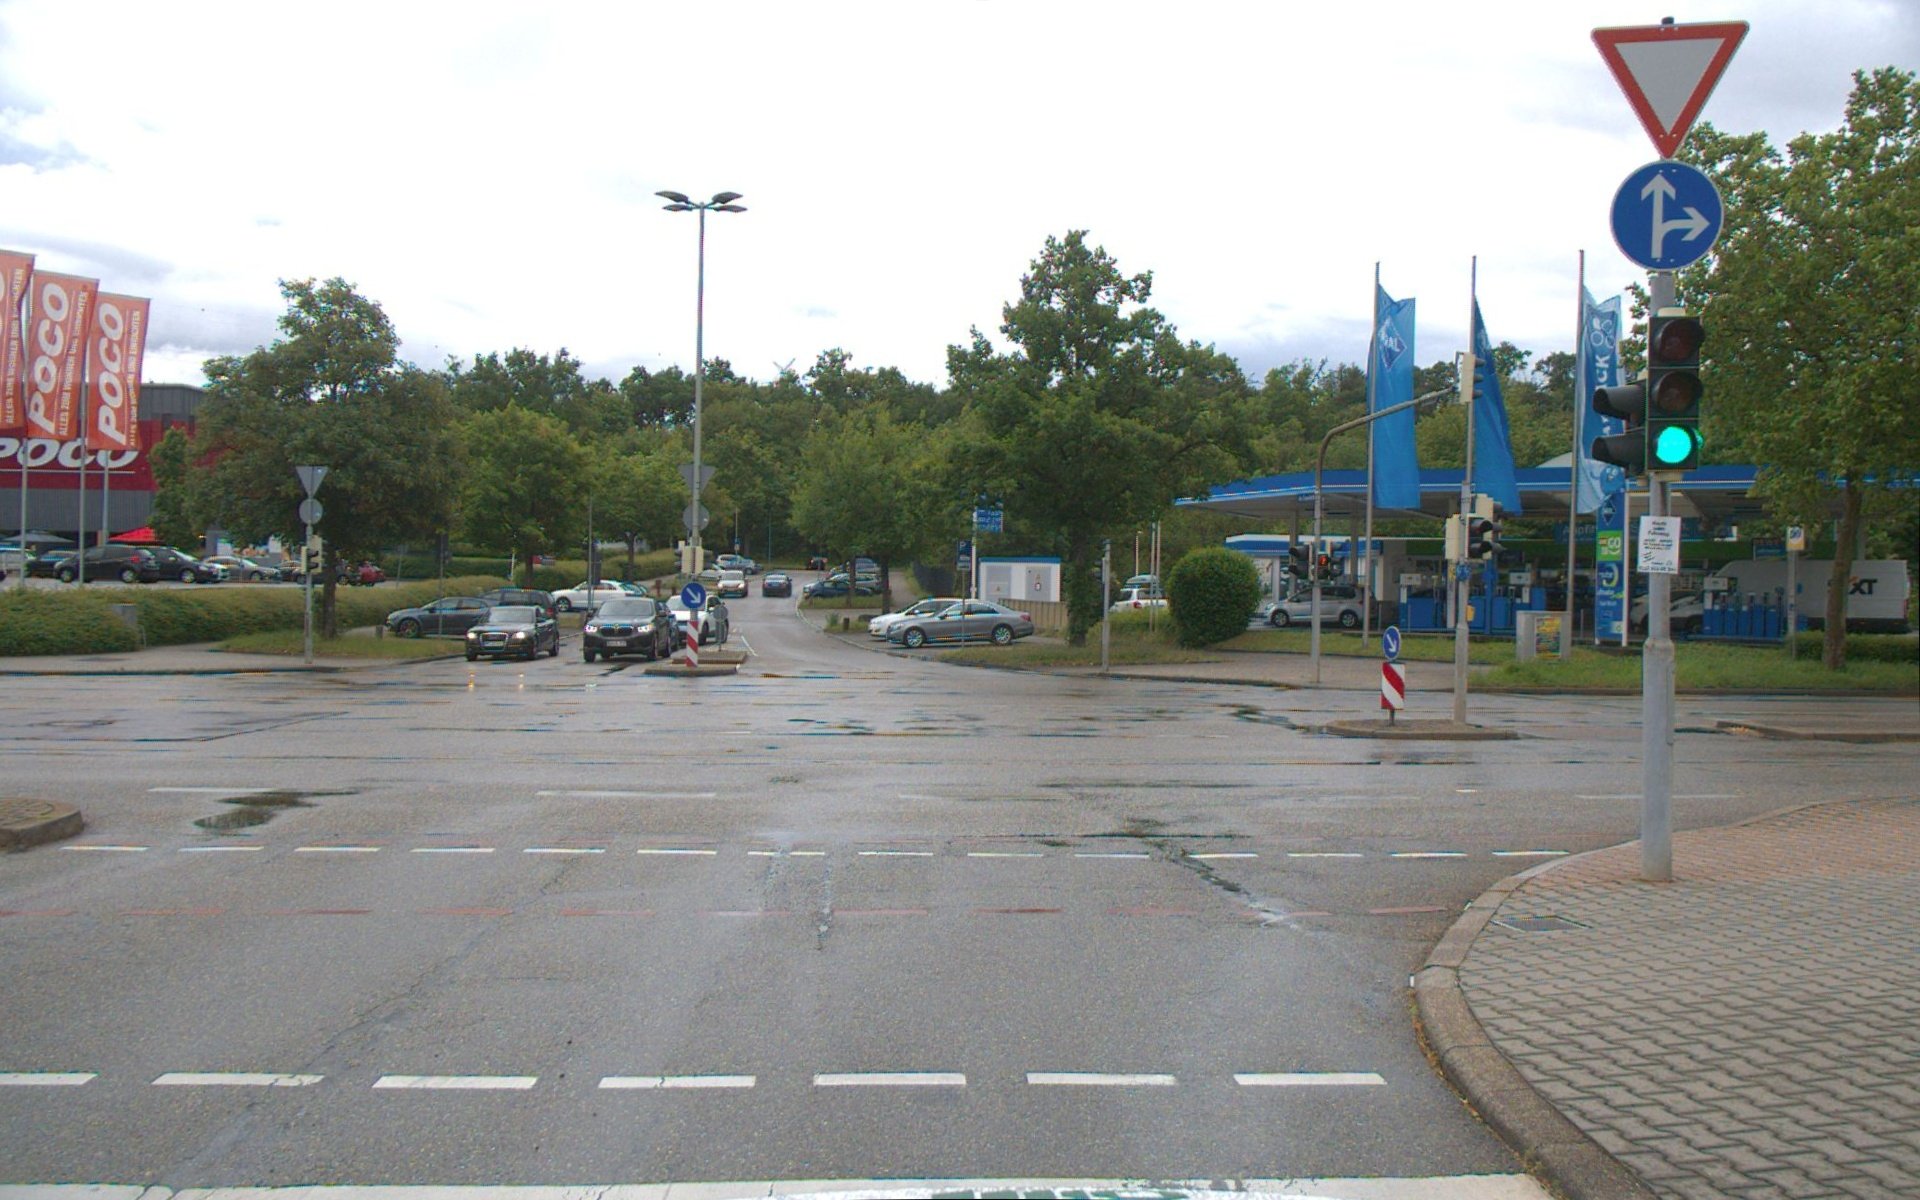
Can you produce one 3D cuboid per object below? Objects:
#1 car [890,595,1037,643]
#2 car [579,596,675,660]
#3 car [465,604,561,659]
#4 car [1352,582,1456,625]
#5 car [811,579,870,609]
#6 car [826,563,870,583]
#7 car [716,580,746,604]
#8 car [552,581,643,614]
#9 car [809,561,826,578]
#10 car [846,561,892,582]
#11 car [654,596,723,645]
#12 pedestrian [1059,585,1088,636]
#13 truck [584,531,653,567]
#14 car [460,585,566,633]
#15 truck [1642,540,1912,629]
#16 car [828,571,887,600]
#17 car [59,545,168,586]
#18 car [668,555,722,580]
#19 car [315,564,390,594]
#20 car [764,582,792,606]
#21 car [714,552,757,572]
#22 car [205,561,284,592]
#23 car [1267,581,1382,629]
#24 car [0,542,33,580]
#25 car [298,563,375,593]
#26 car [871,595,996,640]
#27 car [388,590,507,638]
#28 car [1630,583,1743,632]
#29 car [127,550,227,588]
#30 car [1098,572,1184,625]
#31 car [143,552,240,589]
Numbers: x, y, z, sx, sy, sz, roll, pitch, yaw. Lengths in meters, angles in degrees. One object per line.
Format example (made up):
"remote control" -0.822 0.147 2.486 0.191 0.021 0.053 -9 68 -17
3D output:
"car" 0.079 0.637 56.324 4.794 1.576 1.997 0 -1 -8
"car" -8.673 0.724 43.451 1.858 1.580 4.588 0 0 -4
"car" -12.075 0.832 44.938 1.747 1.429 3.997 0 0 -4
"car" 18.415 0.157 68.649 3.909 1.758 1.793 0 -1 27
"car" -7.058 -0.344 97.521 3.393 1.683 1.614 1 -1 -6
"car" -10.284 -2.430 151.512 3.910 1.769 1.808 0 -1 -7
"car" -14.770 -0.497 106.768 1.664 1.481 3.670 0 -1 -4
"car" -18.122 -0.121 82.821 4.187 1.637 1.683 0 -1 -4
"car" -15.787 -3.367 183.178 1.769 1.769 3.995 0 0 -5
"car" -7.963 -2.461 144.118 3.910 1.769 1.808 0 -1 -7
"car" -9.053 0.658 55.419 1.858 1.580 3.997 0 0 -4
"pedestrian" 3.825 0.363 55.797 0.794 1.690 0.884 0 -1 -11
"truck" -39.022 -5.839 189.239 7.215 3.928 2.778 0 -1 0
"car" -16.626 0.346 61.662 3.580 1.755 1.682 0 -1 -8
"truck" 26.314 -0.442 53.614 7.691 2.722 2.154 -1 -2 25
"car" -6.458 -0.905 104.125 3.627 1.780 1.695 1 -1 -6
"car" -35.905 -1.464 70.188 3.736 1.674 1.673 0 -1 1
"car" -20.081 -2.420 125.435 3.911 1.825 1.853 0 -1 -8
"car" -35.711 -1.223 97.257 3.736 1.674 1.673 0 -1 1
"car" -12.029 -0.393 109.359 1.773 1.508 3.746 0 0 -6
"car" -21.183 -3.572 156.066 3.907 1.825 1.855 0 -1 -3
"car" -40.928 -1.338 94.661 3.736 1.674 1.673 0 -1 1
"car" 14.353 0.202 65.137 4.038 1.839 1.942 0 -1 30
"car" -37.633 -1.474 62.907 3.816 1.405 1.673 0 -1 1
"car" -35.619 -1.246 94.472 3.736 1.674 1.673 0 -1 1
"car" -1.004 0.664 61.572 4.486 1.617 1.926 0 -1 -8
"car" -17.323 0.482 56.014 3.580 1.580 1.682 0 -1 -8
"car" 25.999 0.253 59.221 3.487 1.609 1.685 2 0 31
"car" -35.576 -1.414 75.190 3.736 1.674 1.673 0 -1 1
"car" 6.568 -0.043 60.383 1.780 1.829 3.682 1 -1 -17
"car" -36.163 -1.400 77.898 3.736 1.674 1.673 0 -1 1
